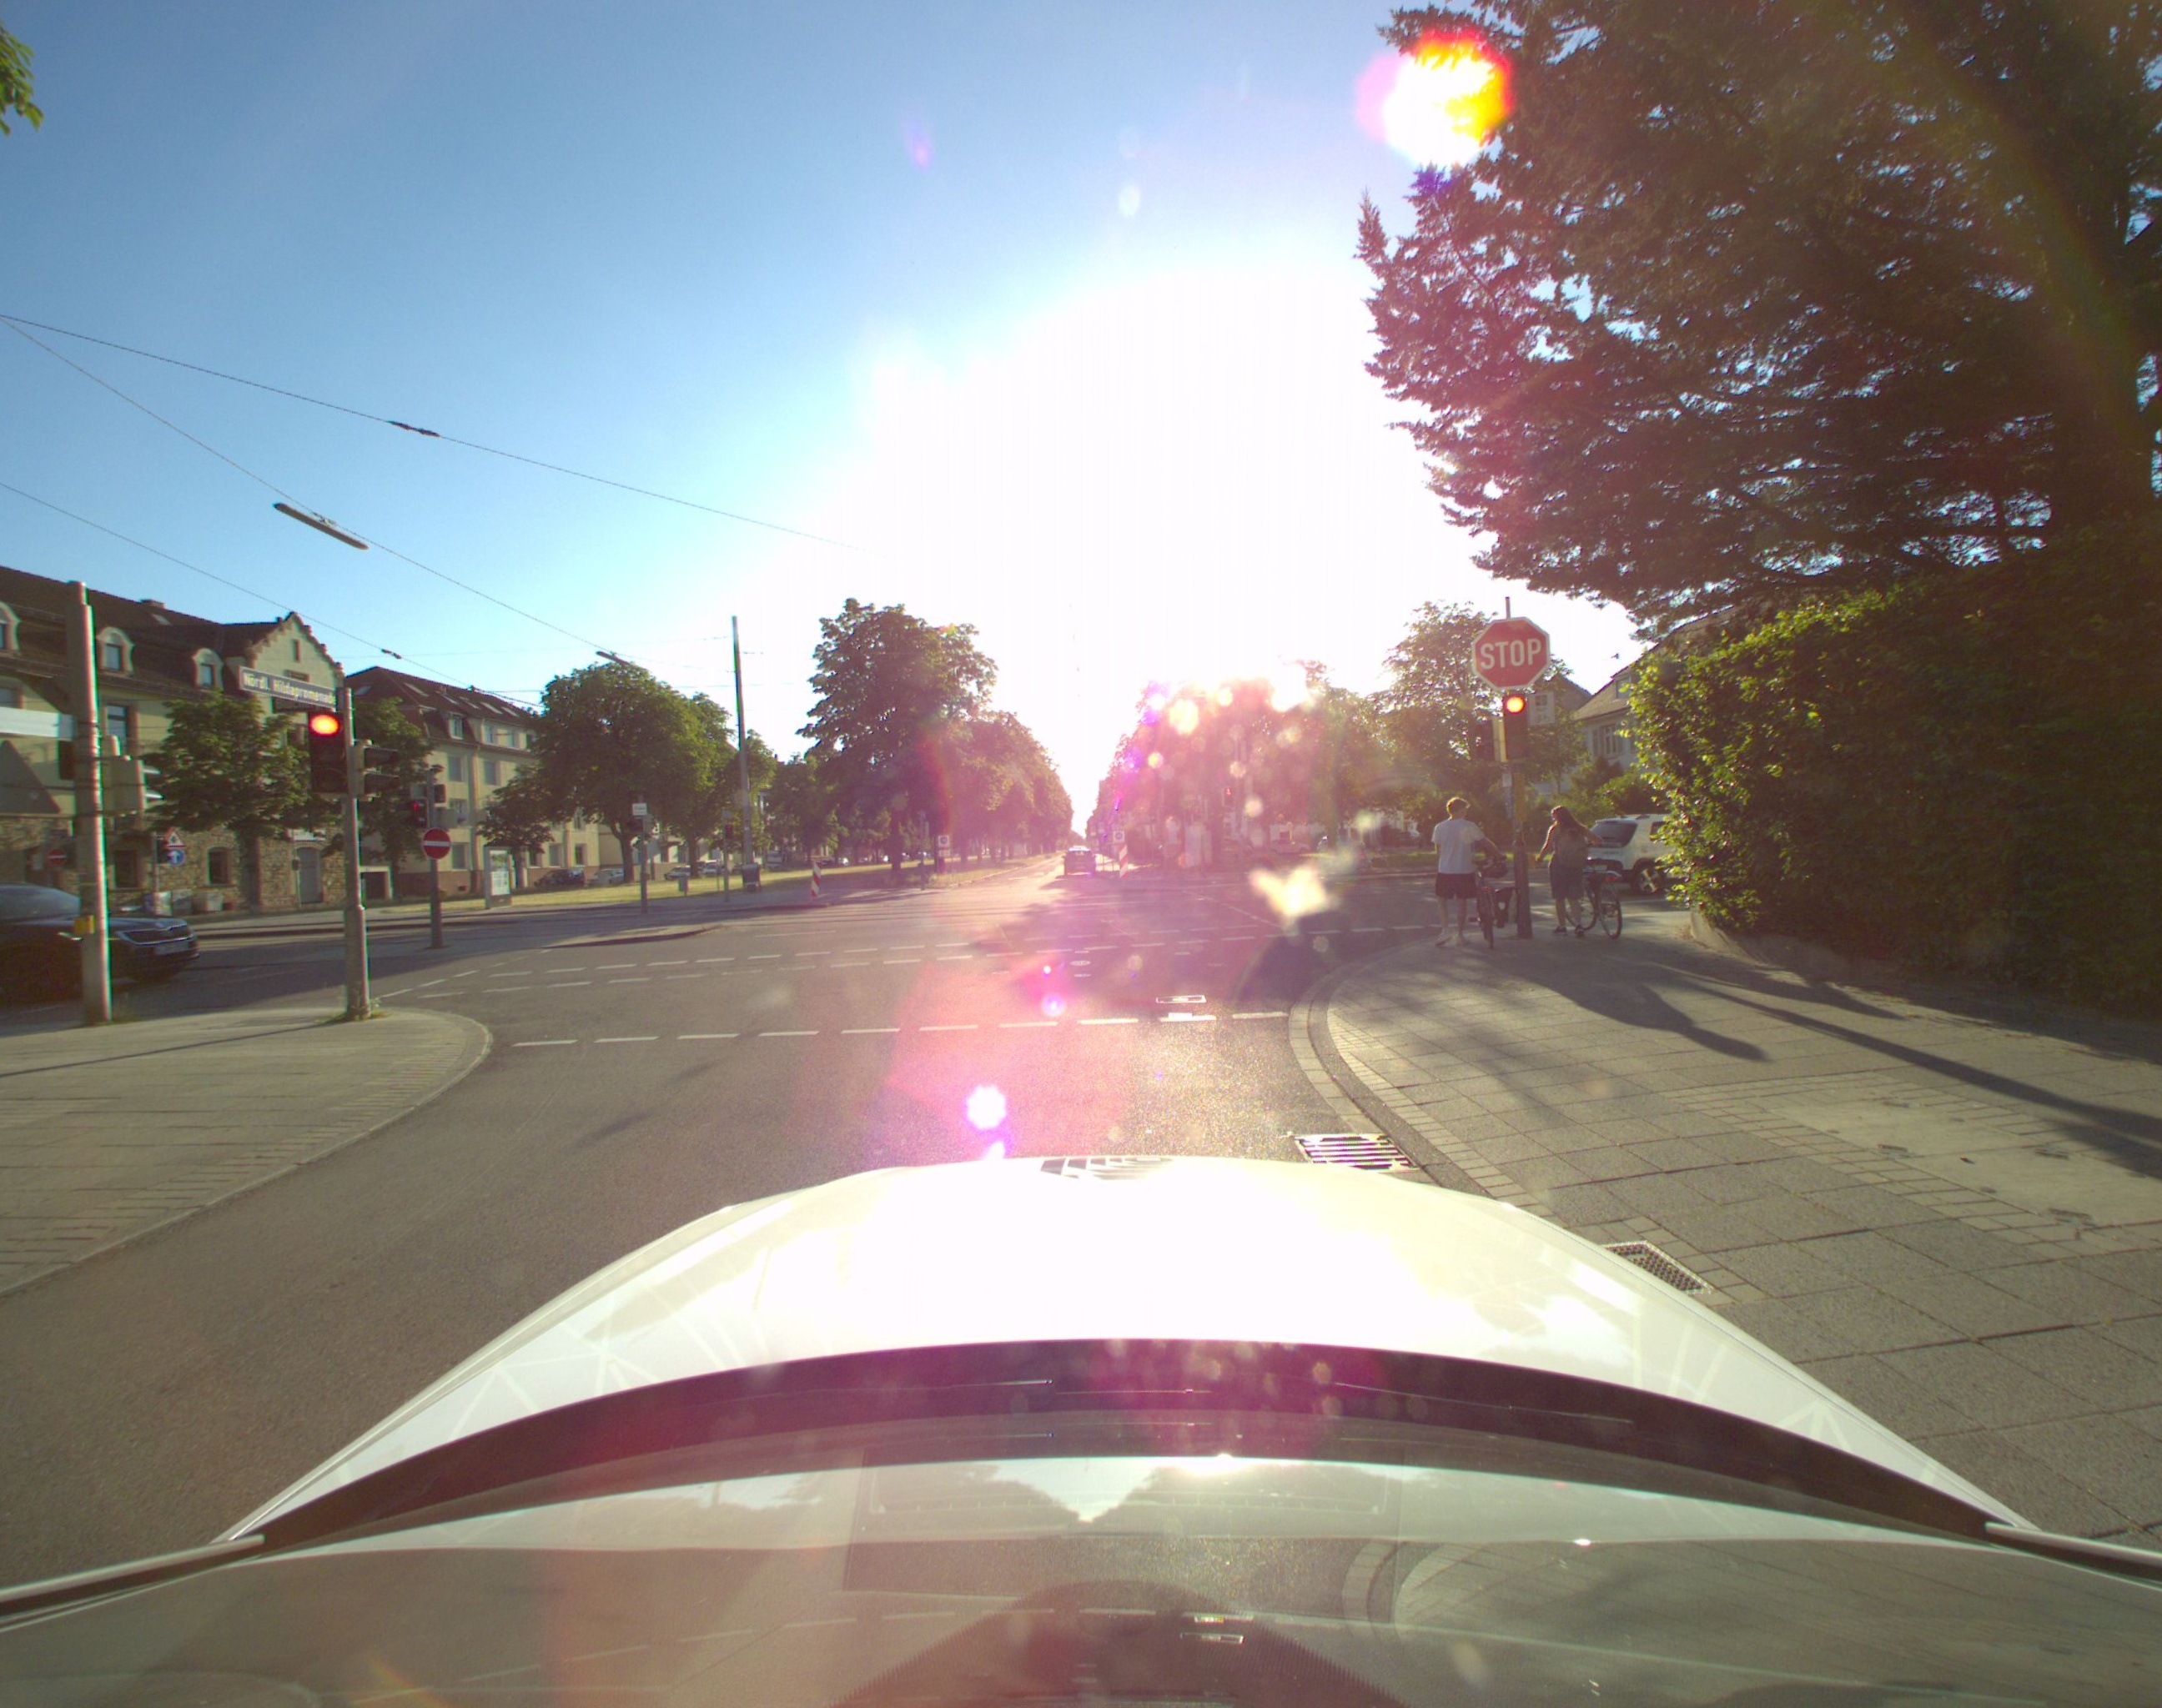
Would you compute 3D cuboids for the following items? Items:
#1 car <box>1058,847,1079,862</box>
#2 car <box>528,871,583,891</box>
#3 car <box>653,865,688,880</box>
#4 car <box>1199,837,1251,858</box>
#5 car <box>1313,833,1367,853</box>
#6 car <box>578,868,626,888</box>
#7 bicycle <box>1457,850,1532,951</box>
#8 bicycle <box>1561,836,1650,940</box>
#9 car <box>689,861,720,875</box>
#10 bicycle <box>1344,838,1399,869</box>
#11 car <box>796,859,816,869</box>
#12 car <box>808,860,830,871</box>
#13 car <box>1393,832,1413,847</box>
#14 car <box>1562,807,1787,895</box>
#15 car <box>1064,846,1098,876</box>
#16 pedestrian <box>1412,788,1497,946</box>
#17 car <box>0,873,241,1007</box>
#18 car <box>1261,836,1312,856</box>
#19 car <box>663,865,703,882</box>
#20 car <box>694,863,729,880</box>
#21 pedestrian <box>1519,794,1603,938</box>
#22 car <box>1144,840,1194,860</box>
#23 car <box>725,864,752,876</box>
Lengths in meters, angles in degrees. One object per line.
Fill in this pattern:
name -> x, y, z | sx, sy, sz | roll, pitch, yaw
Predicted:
car -> -1.128, 0.044, 78.010 | 1.839, 1.393, 3.829 | -2, 1, 1
car -> -43.112, 2.216, 66.860 | 1.729, 1.397, 3.799 | -2, 0, 6
car -> -43.914, 1.995, 87.192 | 1.732, 1.427, 3.793 | -3, 0, 1
car -> 11.506, -0.515, 65.207 | 3.767, 1.525, 1.744 | -2, 2, 0
car -> 20.898, -0.896, 65.702 | 3.838, 1.427, 1.595 | -2, 0, -4
car -> -43.066, 2.141, 73.277 | 1.729, 1.427, 3.800 | -2, 2, 6
bicycle -> 5.102, 0.529, 10.130 | 0.483, 1.097, 1.799 | -5, -1, 19
bicycle -> 6.397, 0.374, 10.007 | 0.483, 1.142, 1.606 | -5, 0, 19
car -> -43.103, 1.578, 93.268 | 1.732, 1.427, 3.793 | -2, 0, 1
bicycle -> 11.646, -0.019, 32.713 | 1.946, 1.132, 0.620 | -3, 0, 2
car -> -43.079, 1.512, 127.643 | 1.732, 1.427, 3.793 | -2, 0, 1
car -> -37.699, 1.591, 117.259 | 1.732, 1.427, 3.793 | -2, 0, 1
car -> 33.045, -1.505, 83.499 | 1.649, 1.417, 3.563 | -2, 0, 24
car -> 12.377, -0.107, 17.059 | 3.865, 1.551, 1.606 | -3, 2, -11
car -> 0.036, 0.350, 44.026 | 1.634, 1.450, 3.310 | -2, 1, 3
pedestrian -> 4.745, 0.168, 10.410 | 0.665, 1.865, 0.886 | -8, -3, 19
car -> -15.571, 1.268, 11.738 | 4.545, 1.663, 1.874 | -3, 0, -8
car -> 16.386, -0.637, 65.036 | 3.656, 1.427, 1.529 | -2, 0, -4
car -> -37.326, 1.805, 76.508 | 1.732, 1.427, 3.793 | -2, 1, 1
car -> -37.315, 1.771, 82.287 | 1.732, 1.427, 3.793 | -2, 2, 1
pedestrian -> 5.980, 0.140, 10.178 | 0.663, 1.708, 0.626 | -6, 1, 20
car -> 7.006, -0.317, 64.988 | 3.767, 1.427, 1.744 | -2, 2, 0
car -> -43.524, 2.020, 103.557 | 1.732, 1.427, 3.793 | -2, 0, 1
